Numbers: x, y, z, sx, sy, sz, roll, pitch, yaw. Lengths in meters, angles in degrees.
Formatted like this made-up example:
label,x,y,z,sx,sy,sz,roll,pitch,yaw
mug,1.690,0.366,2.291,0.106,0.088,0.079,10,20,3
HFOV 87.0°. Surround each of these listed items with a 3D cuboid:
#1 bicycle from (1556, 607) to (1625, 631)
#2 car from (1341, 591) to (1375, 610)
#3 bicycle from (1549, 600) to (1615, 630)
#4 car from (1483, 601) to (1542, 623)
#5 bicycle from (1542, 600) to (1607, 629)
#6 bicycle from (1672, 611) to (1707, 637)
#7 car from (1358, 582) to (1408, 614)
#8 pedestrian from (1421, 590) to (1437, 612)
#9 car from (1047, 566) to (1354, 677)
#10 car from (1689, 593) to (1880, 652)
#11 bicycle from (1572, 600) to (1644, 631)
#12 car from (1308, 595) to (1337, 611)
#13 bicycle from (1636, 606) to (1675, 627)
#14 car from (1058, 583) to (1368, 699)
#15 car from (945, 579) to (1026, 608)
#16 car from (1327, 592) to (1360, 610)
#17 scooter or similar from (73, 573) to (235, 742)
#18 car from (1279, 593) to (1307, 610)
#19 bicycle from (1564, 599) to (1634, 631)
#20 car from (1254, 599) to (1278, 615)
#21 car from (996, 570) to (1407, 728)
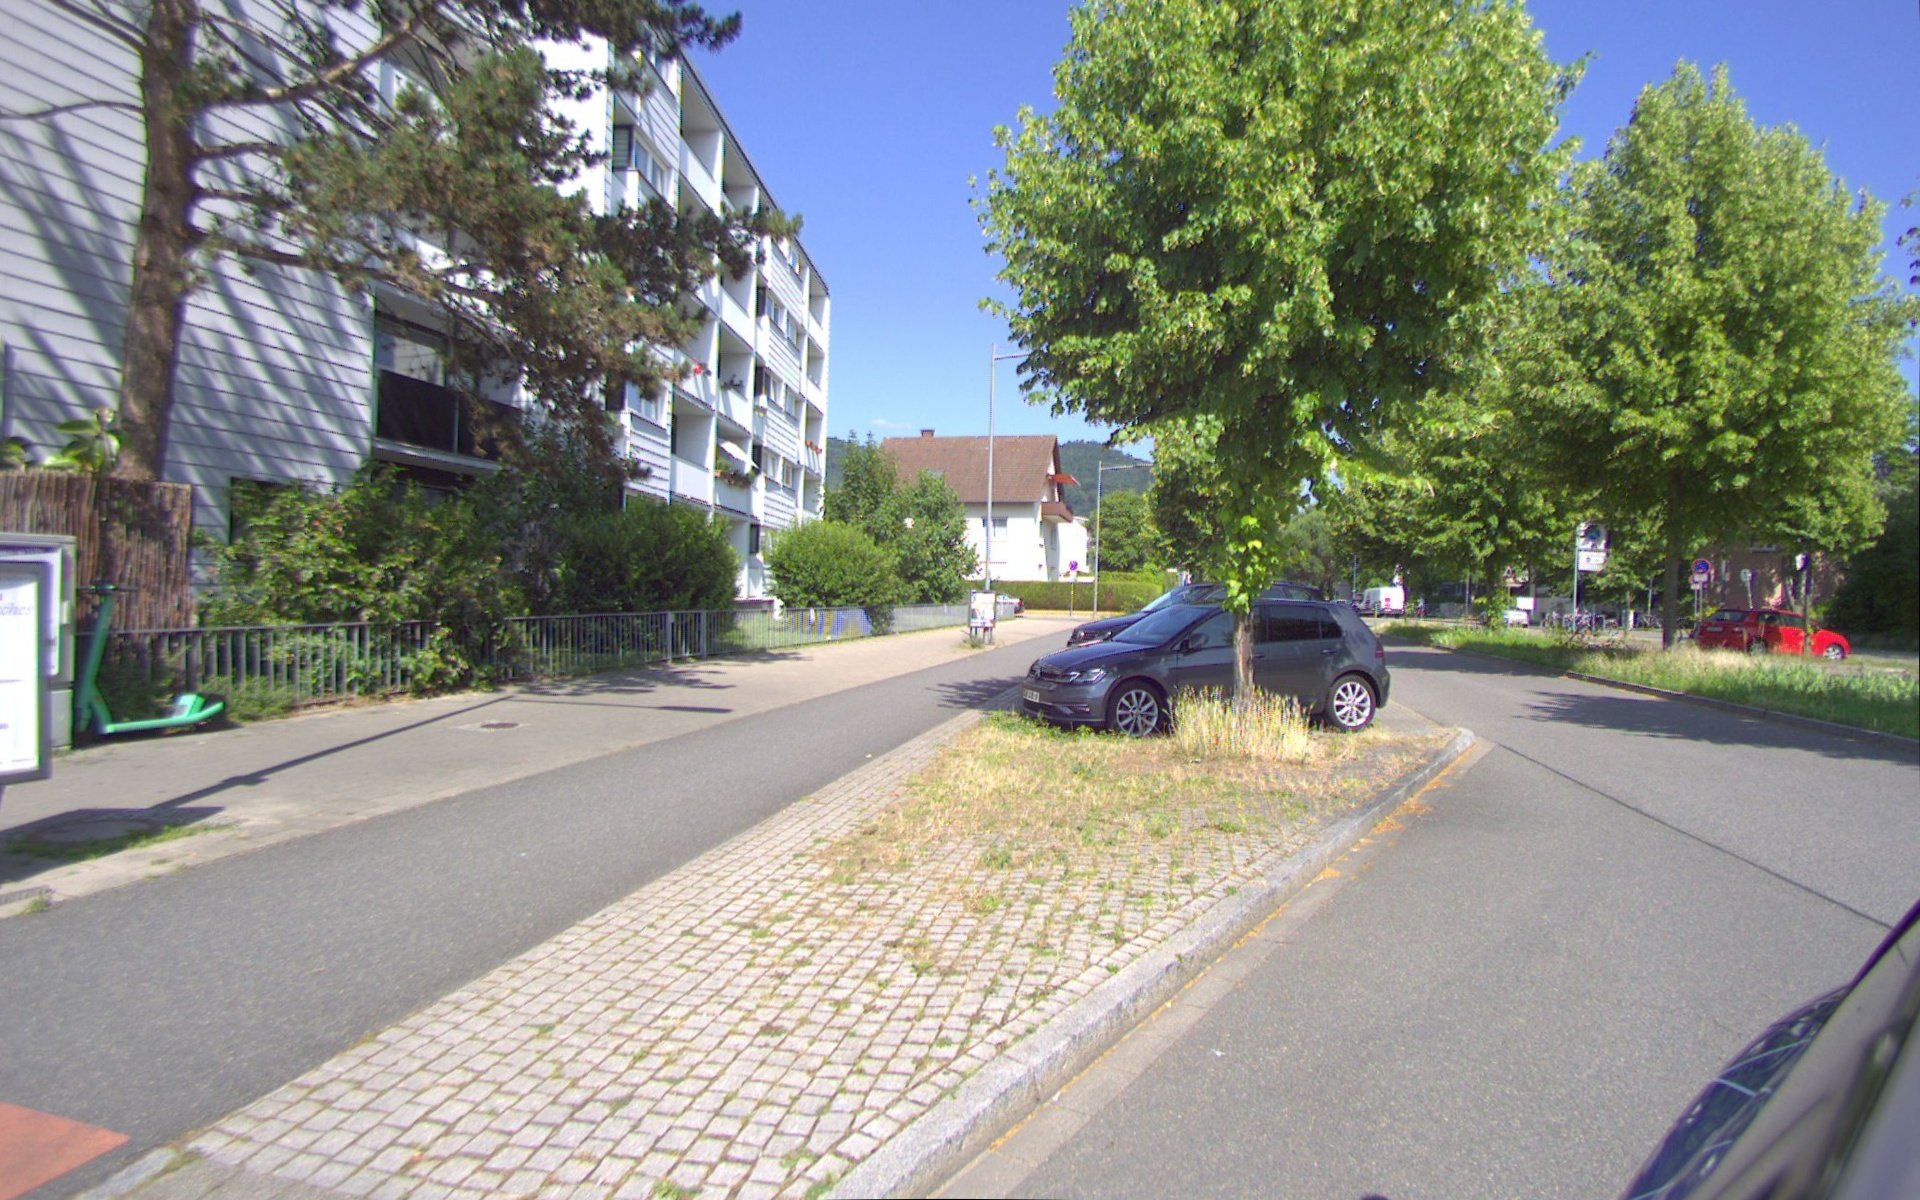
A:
label,x,y,z,sx,sy,sz,roll,pitch,yaw
bicycle,28.859,0.859,46.364,2.513,1.000,0.737,2,0,12
car,35.632,0.046,90.675,1.696,1.578,3.993,2,0,6
bicycle,29.229,0.703,47.573,2.513,1.255,0.737,2,0,12
car,34.335,0.710,62.992,1.696,1.282,3.993,2,0,6
bicycle,29.470,0.696,48.532,2.513,1.272,0.737,2,0,12
bicycle,27.003,0.878,37.478,0.514,0.914,1.268,2,1,9
car,35.407,-0.138,84.827,2.059,2.528,5.943,2,0,5
pedestrian,38.840,0.050,83.790,0.961,1.802,0.723,1,0,10
car,3.954,0.347,16.732,4.646,1.681,1.757,1,0,-16
car,23.493,0.623,28.921,3.919,1.485,2.003,2,0,-7
bicycle,28.306,0.687,44.230,2.513,1.272,0.737,1,0,12
car,36.416,0.297,101.760,1.696,1.578,3.993,2,0,6
bicycle,37.606,0.898,54.739,0.370,1.094,1.716,2,0,-35
car,3.561,0.542,14.445,3.916,1.492,1.773,1,0,-16
car,1.422,-0.346,54.840,4.069,1.416,1.802,2,-2,15
car,36.179,0.127,95.541,1.696,1.578,4.665,2,0,6
scooter or similar,-6.000,0.402,7.573,0.228,1.181,0.951,1,0,21
car,37.156,0.110,112.948,1.814,1.786,4.580,2,0,4
bicycle,28.522,0.663,45.183,2.484,1.272,0.737,2,0,12
car,33.540,0.726,110.889,1.717,1.566,4.066,2,1,6
car,2.642,0.492,11.437,4.031,1.549,2.004,1,0,-15
